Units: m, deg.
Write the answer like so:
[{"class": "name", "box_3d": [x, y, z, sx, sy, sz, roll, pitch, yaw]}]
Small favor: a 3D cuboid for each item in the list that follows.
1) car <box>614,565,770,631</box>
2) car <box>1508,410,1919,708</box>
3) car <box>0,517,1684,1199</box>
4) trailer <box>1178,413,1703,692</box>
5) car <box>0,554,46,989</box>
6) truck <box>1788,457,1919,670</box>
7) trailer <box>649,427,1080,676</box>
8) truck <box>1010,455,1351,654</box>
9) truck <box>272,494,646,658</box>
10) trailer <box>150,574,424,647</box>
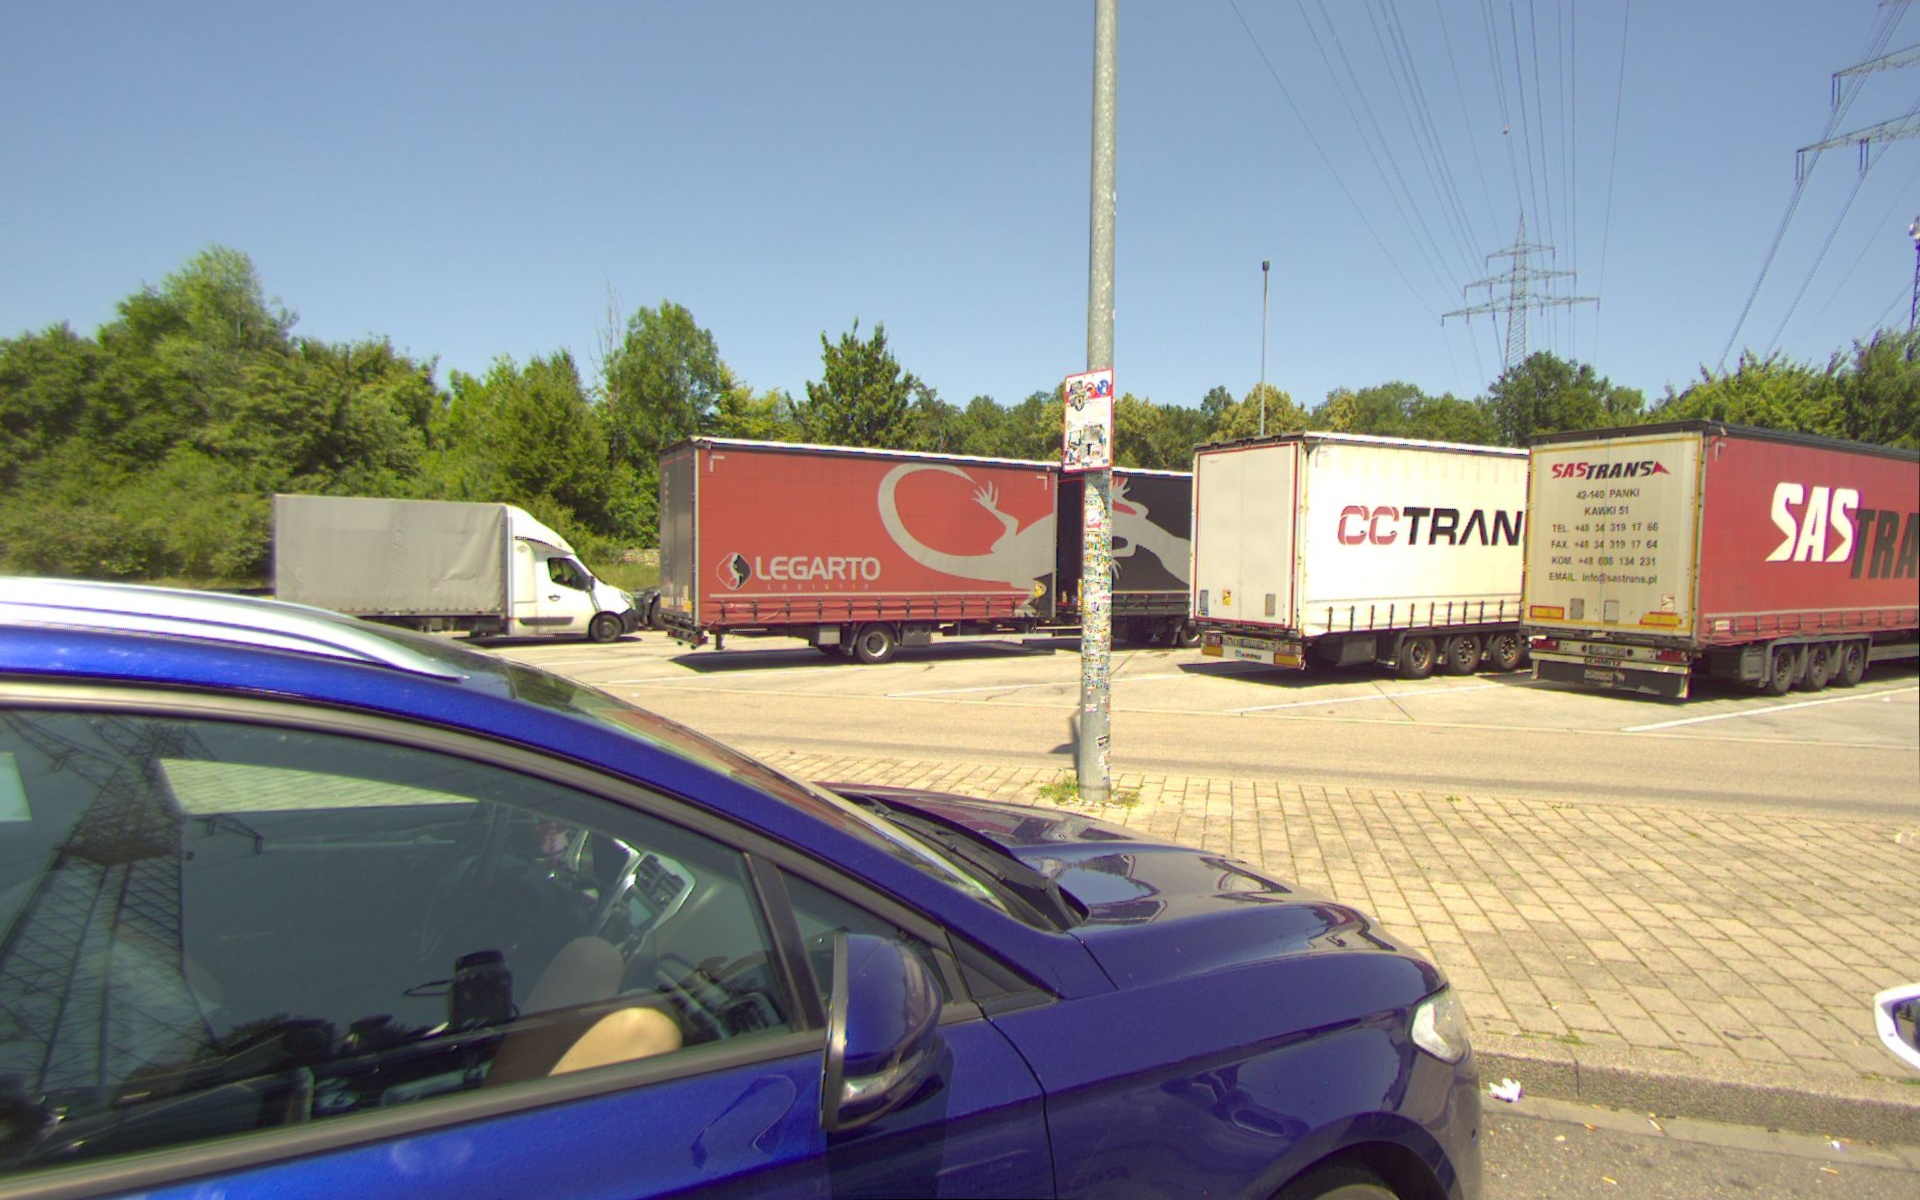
[{"class": "car", "box_3d": [-7.601, -0.050, 28.519, 3.953, 1.773, 1.902, 0, 0, -30]}, {"class": "car", "box_3d": [15.221, -0.692, 18.457, 12.777, 4.169, 2.683, -1, 3, -30]}, {"class": "car", "box_3d": [-0.981, 0.672, 1.468, 4.380, 1.464, 1.771, 0, 0, -32]}, {"class": "trailer", "box_3d": [10.116, -0.882, 20.070, 12.786, 4.325, 2.800, -1, 2, -31]}, {"class": "car", "box_3d": [-4.607, 0.558, 2.119, 3.700, 1.432, 1.595, 0, 0, -32]}, {"class": "truck", "box_3d": [21.146, -0.772, 21.869, 6.163, 4.169, 2.683, -1, 3, -30]}, {"class": "trailer", "box_3d": [-1.739, -0.930, 20.507, 8.389, 4.248, 2.800, -1, 2, -30]}, {"class": "truck", "box_3d": [5.607, -1.079, 24.831, 8.683, 4.248, 2.800, -1, 2, -30]}, {"class": "truck", "box_3d": [-11.110, -0.588, 22.876, 7.219, 3.277, 2.308, -2, 3, -29]}, {"class": "trailer", "box_3d": [-15.945, 0.238, 24.182, 5.332, 1.617, 1.585, 0, 0, -30]}]
